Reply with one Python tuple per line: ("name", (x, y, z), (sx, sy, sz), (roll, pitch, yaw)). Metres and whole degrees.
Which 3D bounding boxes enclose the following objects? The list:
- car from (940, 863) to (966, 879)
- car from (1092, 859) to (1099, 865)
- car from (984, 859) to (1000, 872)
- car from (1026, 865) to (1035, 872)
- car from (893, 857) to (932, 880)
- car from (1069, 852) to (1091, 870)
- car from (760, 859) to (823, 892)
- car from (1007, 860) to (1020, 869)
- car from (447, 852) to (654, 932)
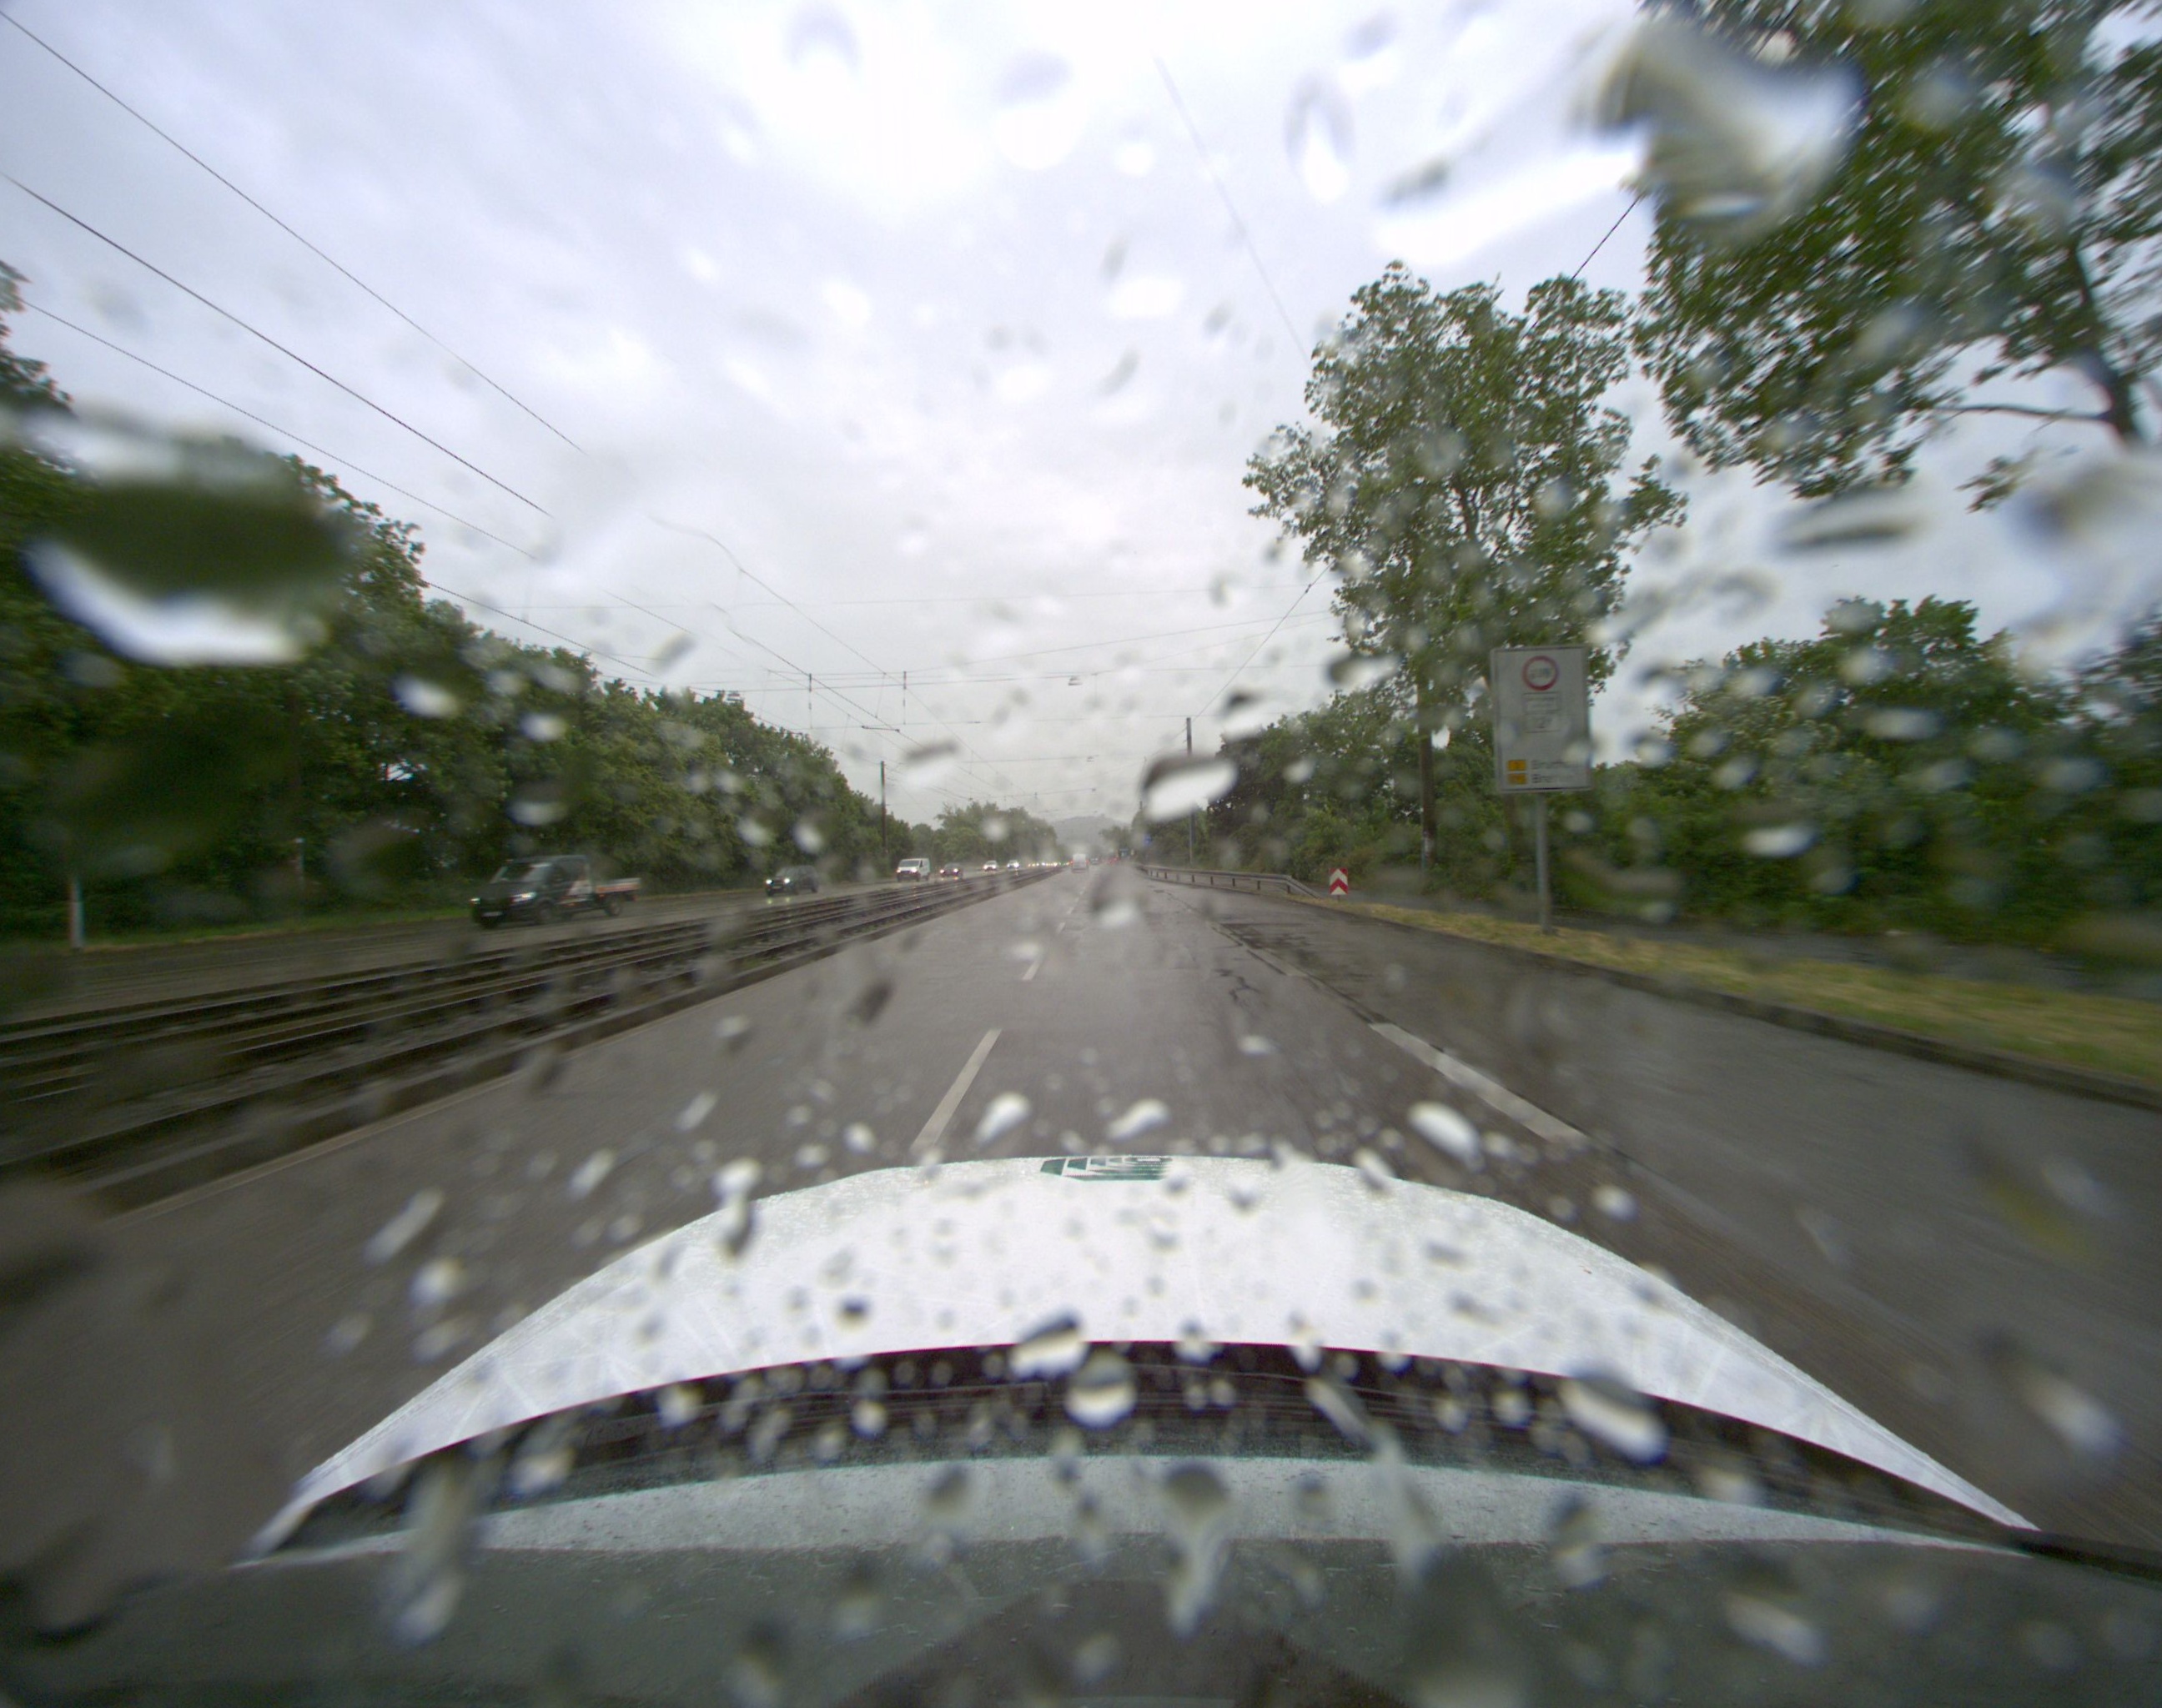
("car", (-13.608, 1.810, 87.089), (1.681, 1.519, 4.617), (0, 1, 5))
("car", (3.879, 2.047, 220.144), (1.737, 1.508, 3.701), (-1, 1, 1))
("car", (-12.768, 1.629, 116.875), (1.748, 1.711, 4.001), (-1, 1, 1))
("car", (-11.478, 3.351, 186.395), (1.737, 1.508, 3.701), (-1, 1, 1))
("car", (-14.473, 1.232, 70.305), (2.031, 1.775, 4.990), (0, 1, 3))
("car", (-0.084, 0.658, 82.273), (1.981, 1.684, 3.743), (-1, 1, 3))
("car", (-16.620, 1.179, 46.952), (1.833, 1.717, 4.168), (0, 1, 5))
("car", (-11.813, 1.897, 143.376), (1.791, 1.453, 4.197), (-1, 1, 2))
("car", (-17.837, 1.136, 28.036), (2.089, 2.343, 6.999), (0, 1, 4))
